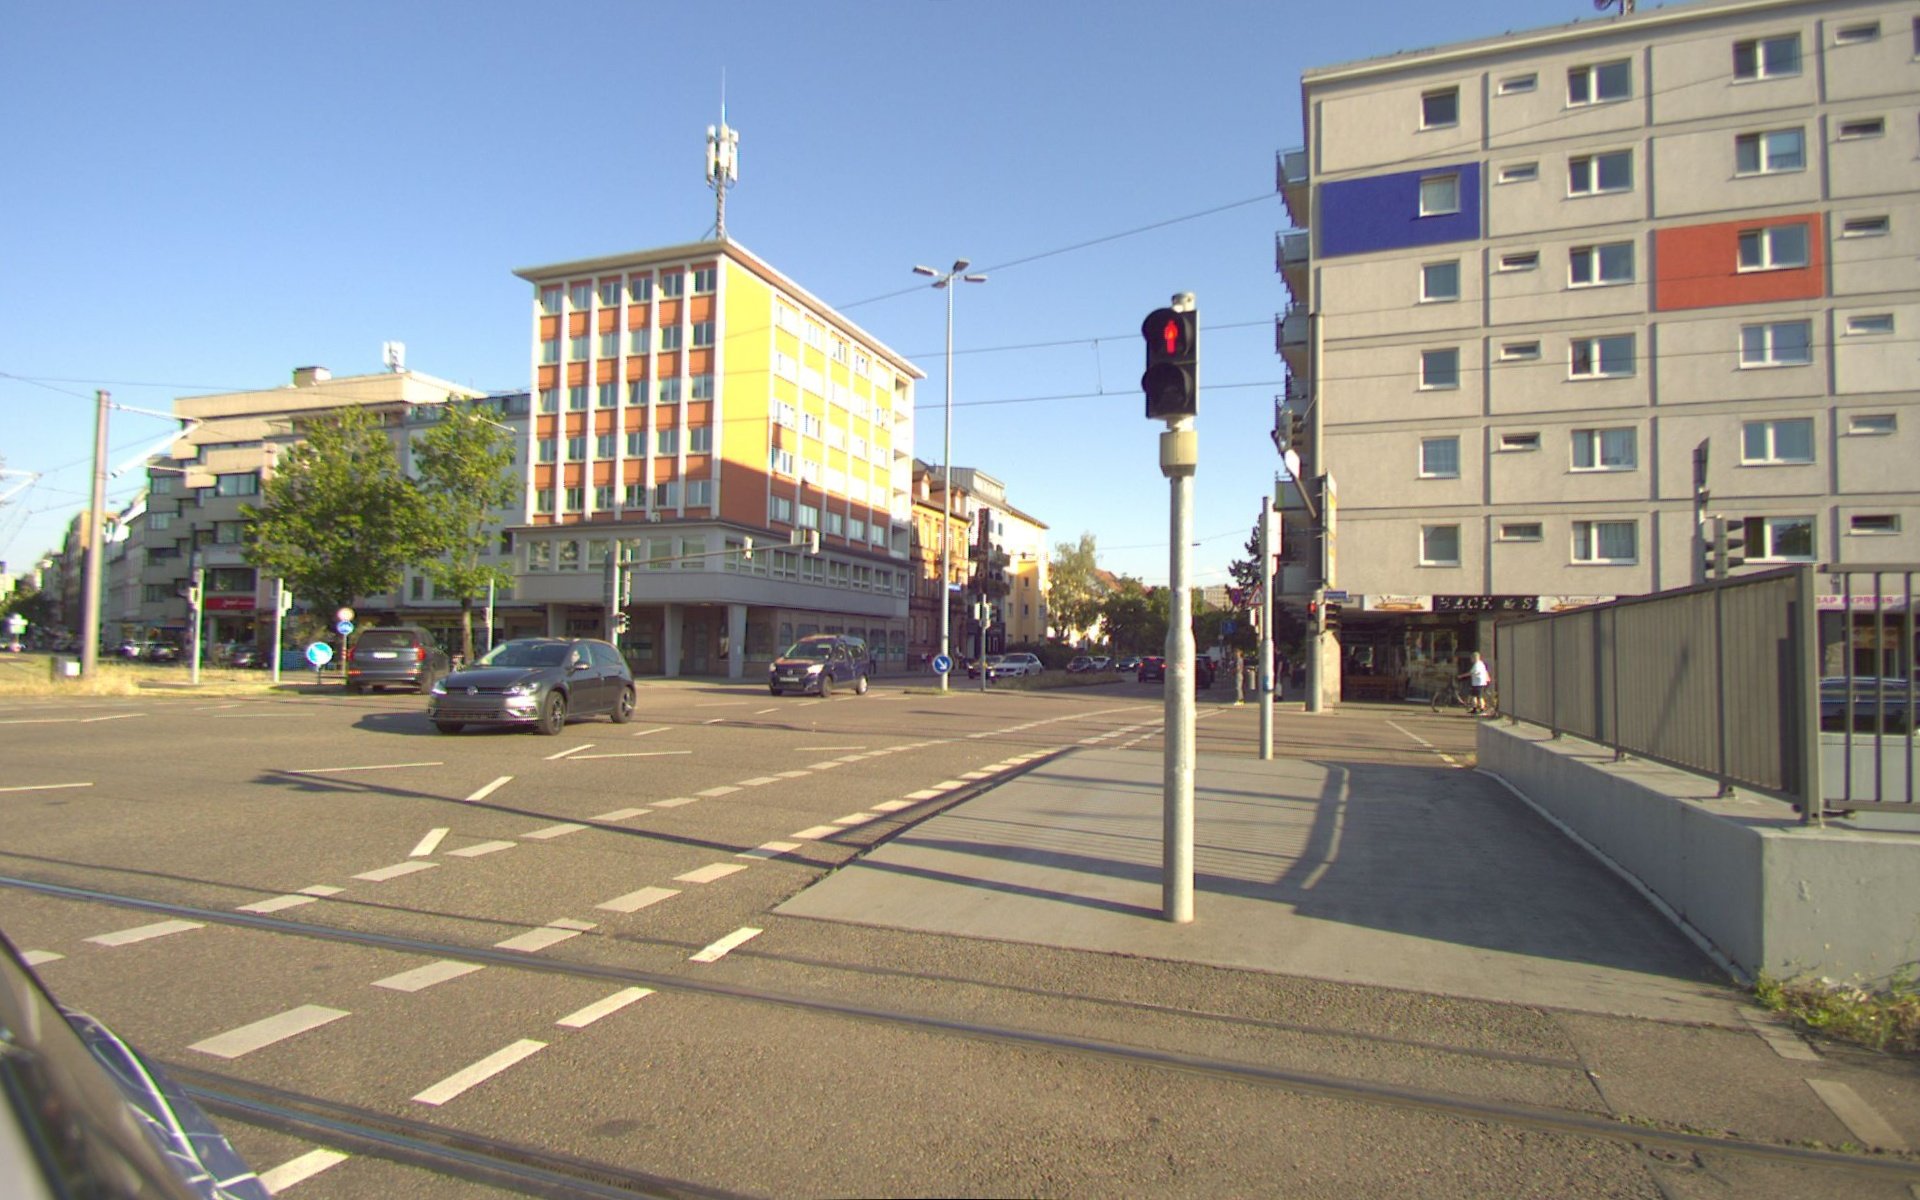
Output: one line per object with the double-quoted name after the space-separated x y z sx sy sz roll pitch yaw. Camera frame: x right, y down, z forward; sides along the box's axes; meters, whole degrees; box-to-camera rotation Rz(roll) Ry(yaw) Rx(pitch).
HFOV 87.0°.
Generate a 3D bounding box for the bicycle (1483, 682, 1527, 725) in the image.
14.575 2.748 27.132 0.732 1.059 2.283 0 -3 21 "bicycle"

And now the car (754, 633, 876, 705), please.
-4.125 1.993 29.600 1.879 1.868 4.444 1 -3 15 "car"

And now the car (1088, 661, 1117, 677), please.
14.205 6.857 100.784 1.894 1.529 4.044 -1 -4 22 "car"

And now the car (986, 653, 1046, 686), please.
2.833 3.449 50.626 1.894 1.552 3.972 -1 -3 21 "car"

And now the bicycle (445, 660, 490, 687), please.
-22.449 3.343 46.162 1.963 1.124 0.590 1 -3 20 "bicycle"

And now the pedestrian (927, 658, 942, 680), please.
-1.938 5.169 75.751 0.732 1.600 1.005 4 -2 17 "pedestrian"

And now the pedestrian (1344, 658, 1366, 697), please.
17.265 3.365 44.225 0.615 1.685 0.660 2 -3 -14 "pedestrian"

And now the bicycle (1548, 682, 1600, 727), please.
16.096 2.715 26.588 0.732 1.059 2.283 0 -3 21 "bicycle"

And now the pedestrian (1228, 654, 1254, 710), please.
9.241 2.690 33.283 0.607 1.800 0.805 -4 -5 25 "pedestrian"

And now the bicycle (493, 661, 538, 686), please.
-21.474 3.548 48.886 2.045 1.123 0.590 2 -3 19 "bicycle"

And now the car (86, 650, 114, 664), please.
-88.227 5.837 103.825 3.624 1.394 1.715 -2 -4 43 "car"

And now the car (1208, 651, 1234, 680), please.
26.973 6.733 104.358 2.122 2.777 4.435 1 -3 21 "car"

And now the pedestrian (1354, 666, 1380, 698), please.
17.090 3.441 42.501 0.615 1.324 0.813 2 -4 -22 "pedestrian"

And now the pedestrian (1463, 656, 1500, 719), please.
14.761 2.467 28.645 0.602 1.736 0.683 -2 -4 5 "pedestrian"

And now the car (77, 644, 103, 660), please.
-98.497 5.903 114.542 3.580 1.715 1.746 -2 -4 43 "car"

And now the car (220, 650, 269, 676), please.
-42.258 3.696 59.751 3.636 1.439 1.618 -2 -4 43 "car"

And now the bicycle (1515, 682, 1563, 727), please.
15.331 2.741 26.855 0.732 1.059 2.283 0 -3 21 "bicycle"

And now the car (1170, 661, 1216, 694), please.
12.106 4.024 52.374 1.788 1.577 4.118 0 -4 21 "car"

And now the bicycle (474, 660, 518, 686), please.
-21.889 3.454 47.703 1.992 1.123 0.590 1 -3 20 "bicycle"

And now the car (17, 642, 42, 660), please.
-101.957 5.579 110.866 3.489 1.828 1.626 -2 -4 43 "car"

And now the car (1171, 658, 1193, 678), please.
19.018 5.789 86.535 1.528 1.605 2.790 1 -3 19 "car"

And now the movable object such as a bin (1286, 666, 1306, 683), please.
25.607 5.669 77.178 1.173 1.242 0.852 2 -4 -18 "movable object such as a bin"

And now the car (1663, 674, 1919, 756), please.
15.709 2.073 18.639 4.169 1.323 1.789 0 -3 20 "car"

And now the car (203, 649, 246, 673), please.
-49.322 4.085 67.873 3.636 1.558 1.618 -2 -4 43 "car"

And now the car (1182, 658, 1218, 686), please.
15.580 4.653 65.476 1.807 1.724 4.756 1 -3 19 "car"

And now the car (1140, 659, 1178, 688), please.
11.709 4.321 59.437 1.572 1.556 3.452 1 -3 21 "car"

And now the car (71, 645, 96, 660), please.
-103.210 6.224 119.116 3.580 1.715 1.746 -2 -4 43 "car"

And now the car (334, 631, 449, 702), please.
-15.177 1.716 27.284 1.965 1.737 5.047 1 -2 -21 "car"

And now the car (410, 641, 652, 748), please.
-6.569 1.433 16.089 1.750 1.470 4.262 0 -4 5 "car"

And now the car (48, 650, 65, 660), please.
-126.926 7.673 142.168 3.424 1.384 1.475 -2 -4 43 "car"

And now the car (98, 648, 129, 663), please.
-78.744 5.159 94.105 3.624 1.394 1.715 -2 -4 43 "car"

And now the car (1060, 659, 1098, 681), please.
8.823 5.165 74.823 1.894 1.552 3.972 -1 -3 21 "car"

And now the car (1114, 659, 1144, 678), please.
15.097 6.077 90.258 1.894 1.552 3.972 -1 -3 21 "car"

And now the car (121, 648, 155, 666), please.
-68.820 4.763 84.739 3.391 1.394 1.716 -2 -4 43 "car"

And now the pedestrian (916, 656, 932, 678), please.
-2.673 5.036 75.879 0.781 1.600 1.005 4 -2 18 "pedestrian"

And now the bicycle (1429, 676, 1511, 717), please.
14.680 2.772 29.155 2.041 1.100 0.519 2 -4 7 "bicycle"

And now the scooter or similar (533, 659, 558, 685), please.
-21.673 3.754 52.907 1.561 1.245 0.478 -1 -4 41 "scooter or similar"

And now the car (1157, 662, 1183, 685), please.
15.231 5.325 73.200 1.664 1.556 3.789 2 -3 14 "car"

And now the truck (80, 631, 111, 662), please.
-93.550 5.077 109.521 6.407 3.245 1.715 -2 -4 43 "truck"

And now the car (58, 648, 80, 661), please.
-120.020 7.327 136.368 3.677 1.607 1.781 -2 -4 43 "car"

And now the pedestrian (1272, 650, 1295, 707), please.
10.909 2.651 34.148 0.606 1.890 0.806 -3 -5 22 "pedestrian"

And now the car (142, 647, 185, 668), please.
-60.859 4.361 77.339 3.873 1.568 1.936 -2 -4 43 "car"

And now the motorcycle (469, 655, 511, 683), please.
-23.893 3.514 51.504 0.834 1.403 2.259 -1 -4 9 "motorcycle"
